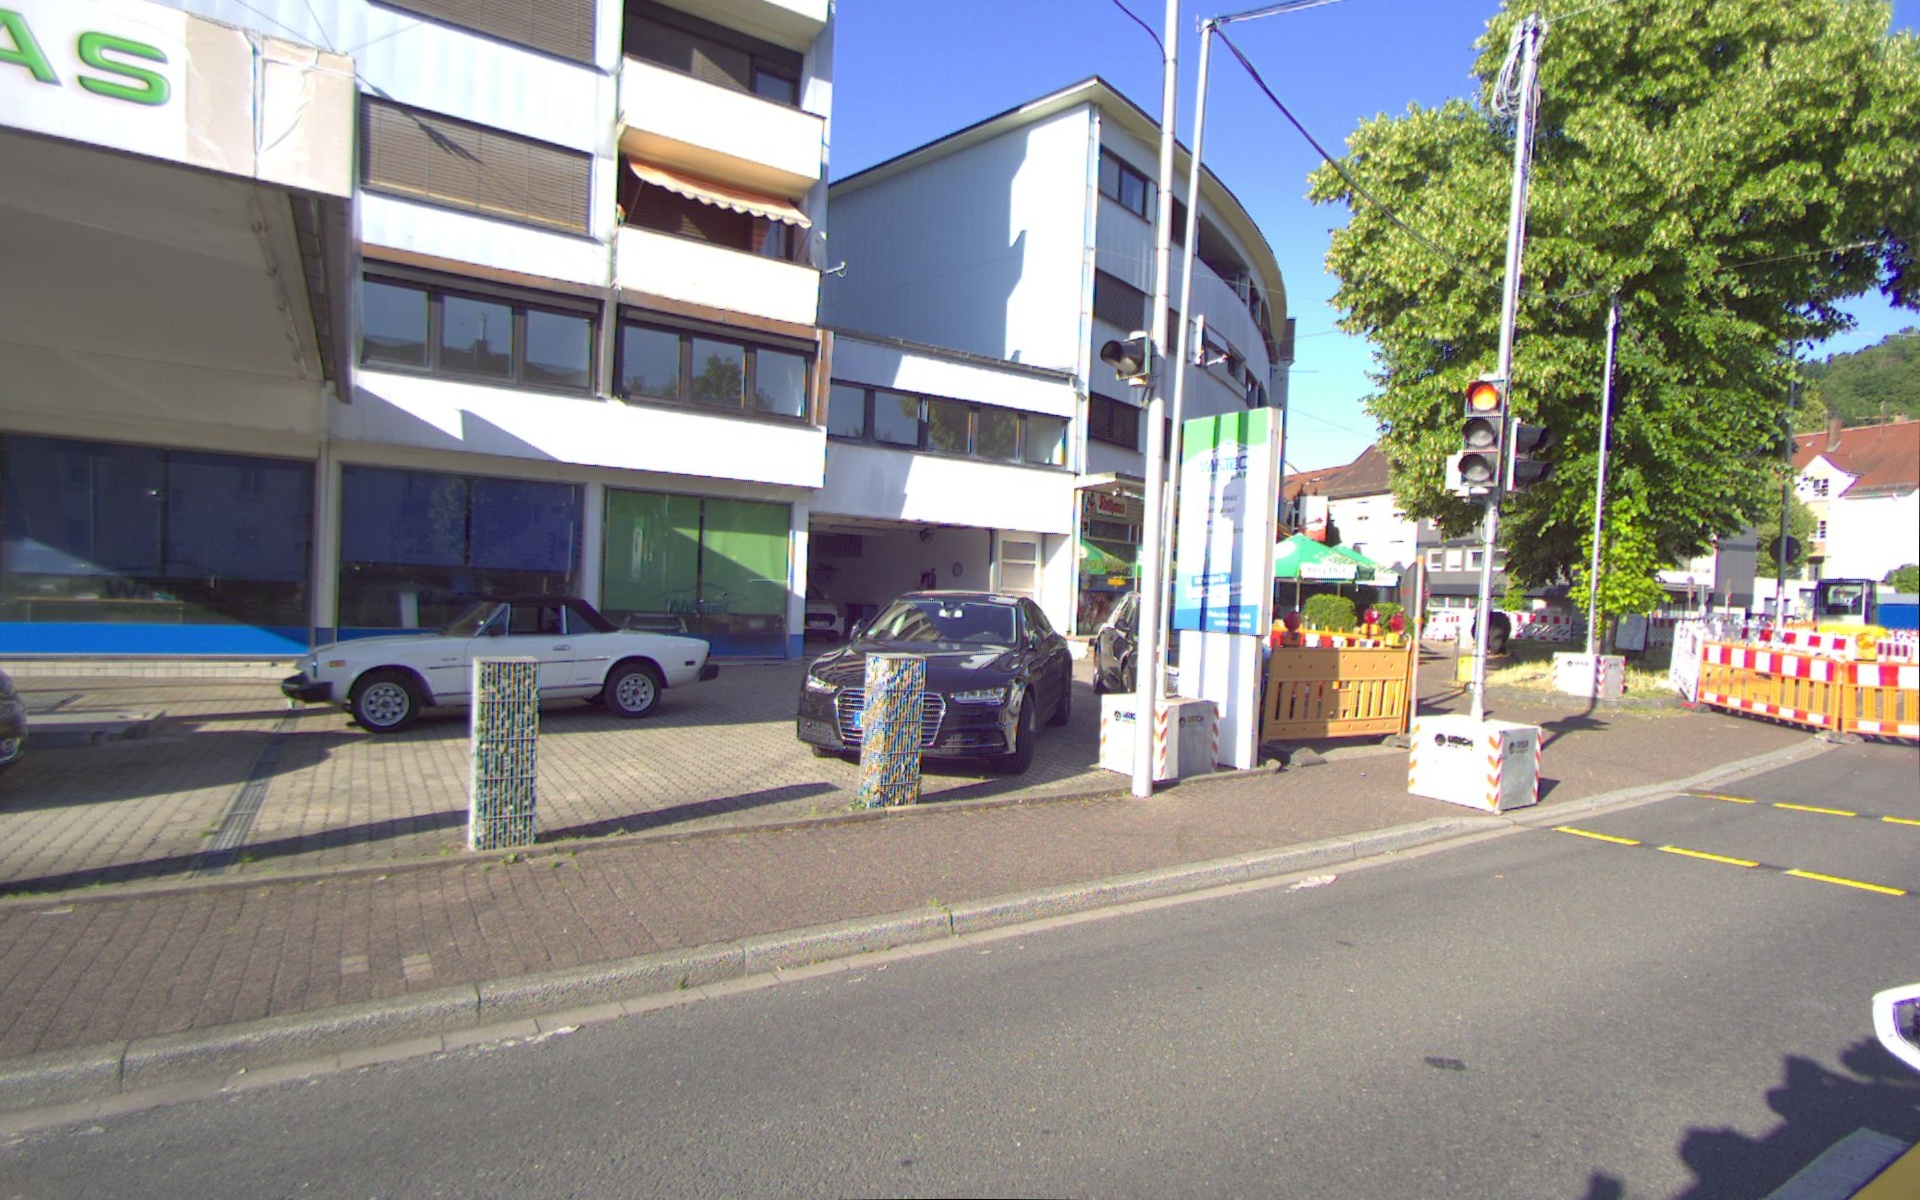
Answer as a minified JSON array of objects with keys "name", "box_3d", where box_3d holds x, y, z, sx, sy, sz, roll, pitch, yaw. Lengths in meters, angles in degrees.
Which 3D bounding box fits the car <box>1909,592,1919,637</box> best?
[{"name":"car","box_3d":[49.530,0.794,48.346,6.043,2.149,2.586,2,0,-12]}]

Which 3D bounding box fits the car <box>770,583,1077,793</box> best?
[{"name":"car","box_3d":[-0.027,0.649,9.571,1.893,1.457,4.692,1,-1,11]}]

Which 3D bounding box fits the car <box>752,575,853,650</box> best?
[{"name":"car","box_3d":[-3.896,0.253,24.380,1.550,1.629,3.734,2,1,-23]}]

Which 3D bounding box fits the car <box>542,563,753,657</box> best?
[{"name":"car","box_3d":[-6.102,0.218,19.709,3.593,1.696,1.707,2,0,-34]}]

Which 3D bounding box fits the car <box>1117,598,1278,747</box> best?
[{"name":"car","box_3d":[2.756,0.745,12.079,1.564,1.457,3.887,1,0,11]}]

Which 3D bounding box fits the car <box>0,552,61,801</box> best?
[{"name":"car","box_3d":[-7.484,0.407,5.858,3.305,1.506,1.543,2,0,8]}]

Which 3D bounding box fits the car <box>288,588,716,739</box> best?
[{"name":"car","box_3d":[-4.677,0.591,10.487,3.865,1.315,1.511,1,-1,-35]}]

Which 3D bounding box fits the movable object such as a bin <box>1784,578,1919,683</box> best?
[{"name":"movable object such as a bin","box_3d":[21.523,0.702,24.166,3.882,2.356,1.635,1,0,-36]}]
